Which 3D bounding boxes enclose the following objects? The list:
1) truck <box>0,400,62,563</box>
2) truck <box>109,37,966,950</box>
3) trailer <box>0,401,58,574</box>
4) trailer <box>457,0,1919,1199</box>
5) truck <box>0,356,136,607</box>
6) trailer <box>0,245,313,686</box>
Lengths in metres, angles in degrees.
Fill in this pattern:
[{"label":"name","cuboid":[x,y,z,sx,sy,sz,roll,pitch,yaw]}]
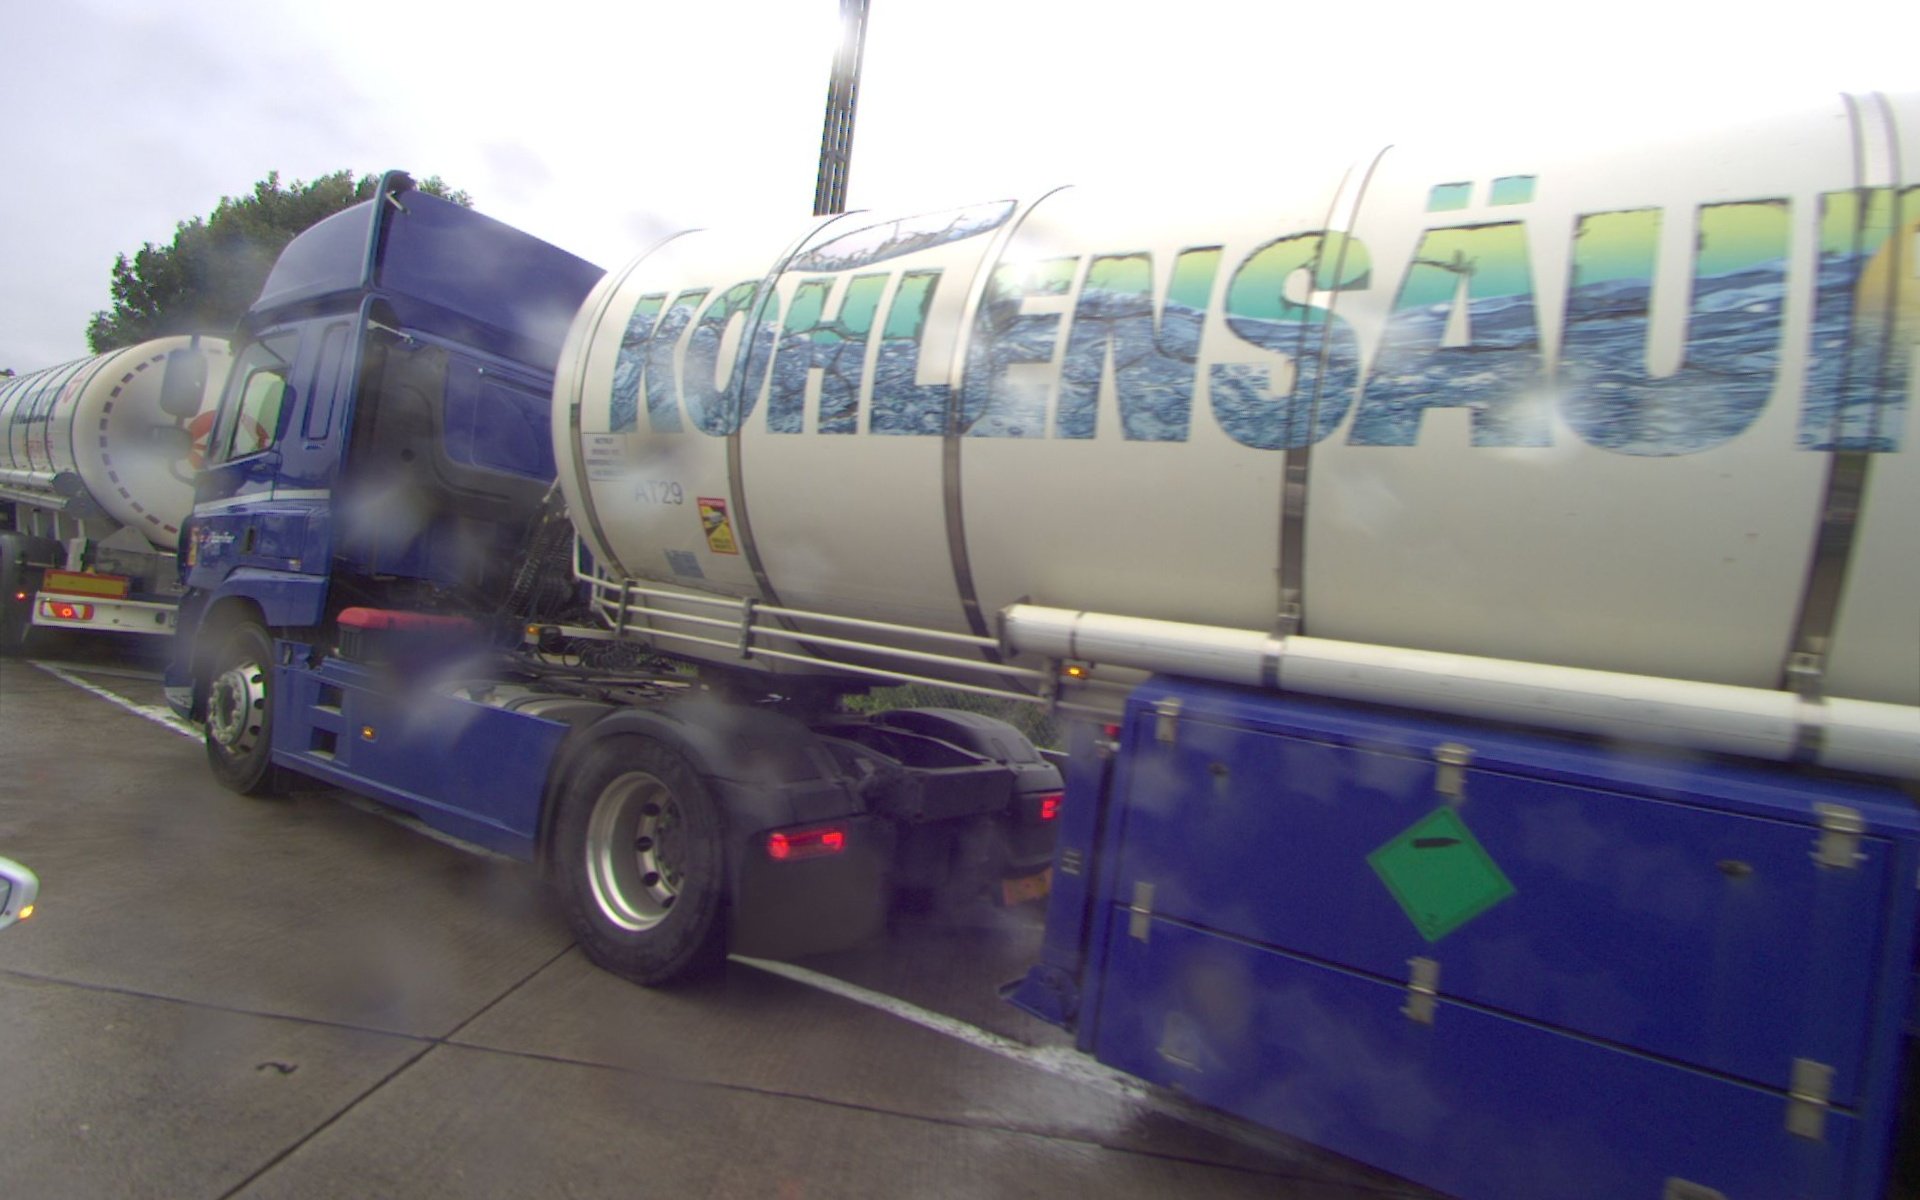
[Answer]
[{"label":"truck","cuboid":[-25.138,-3.119,26.191,2.173,3.873,4.094,8,-1,-41]},{"label":"truck","cuboid":[-2.676,-0.531,6.021,4.668,3.572,2.056,6,-2,32]},{"label":"trailer","cuboid":[-22.343,-2.624,22.904,2.175,3.432,7.478,8,-1,-41]},{"label":"trailer","cuboid":[2.790,0.176,2.517,10.152,3.262,1.984,6,-2,32]},{"label":"truck","cuboid":[-15.720,-1.953,16.759,4.583,3.554,2.143,6,-1,42]},{"label":"trailer","cuboid":[-10.874,-1.413,12.305,10.112,3.481,2.129,6,-1,42]}]
